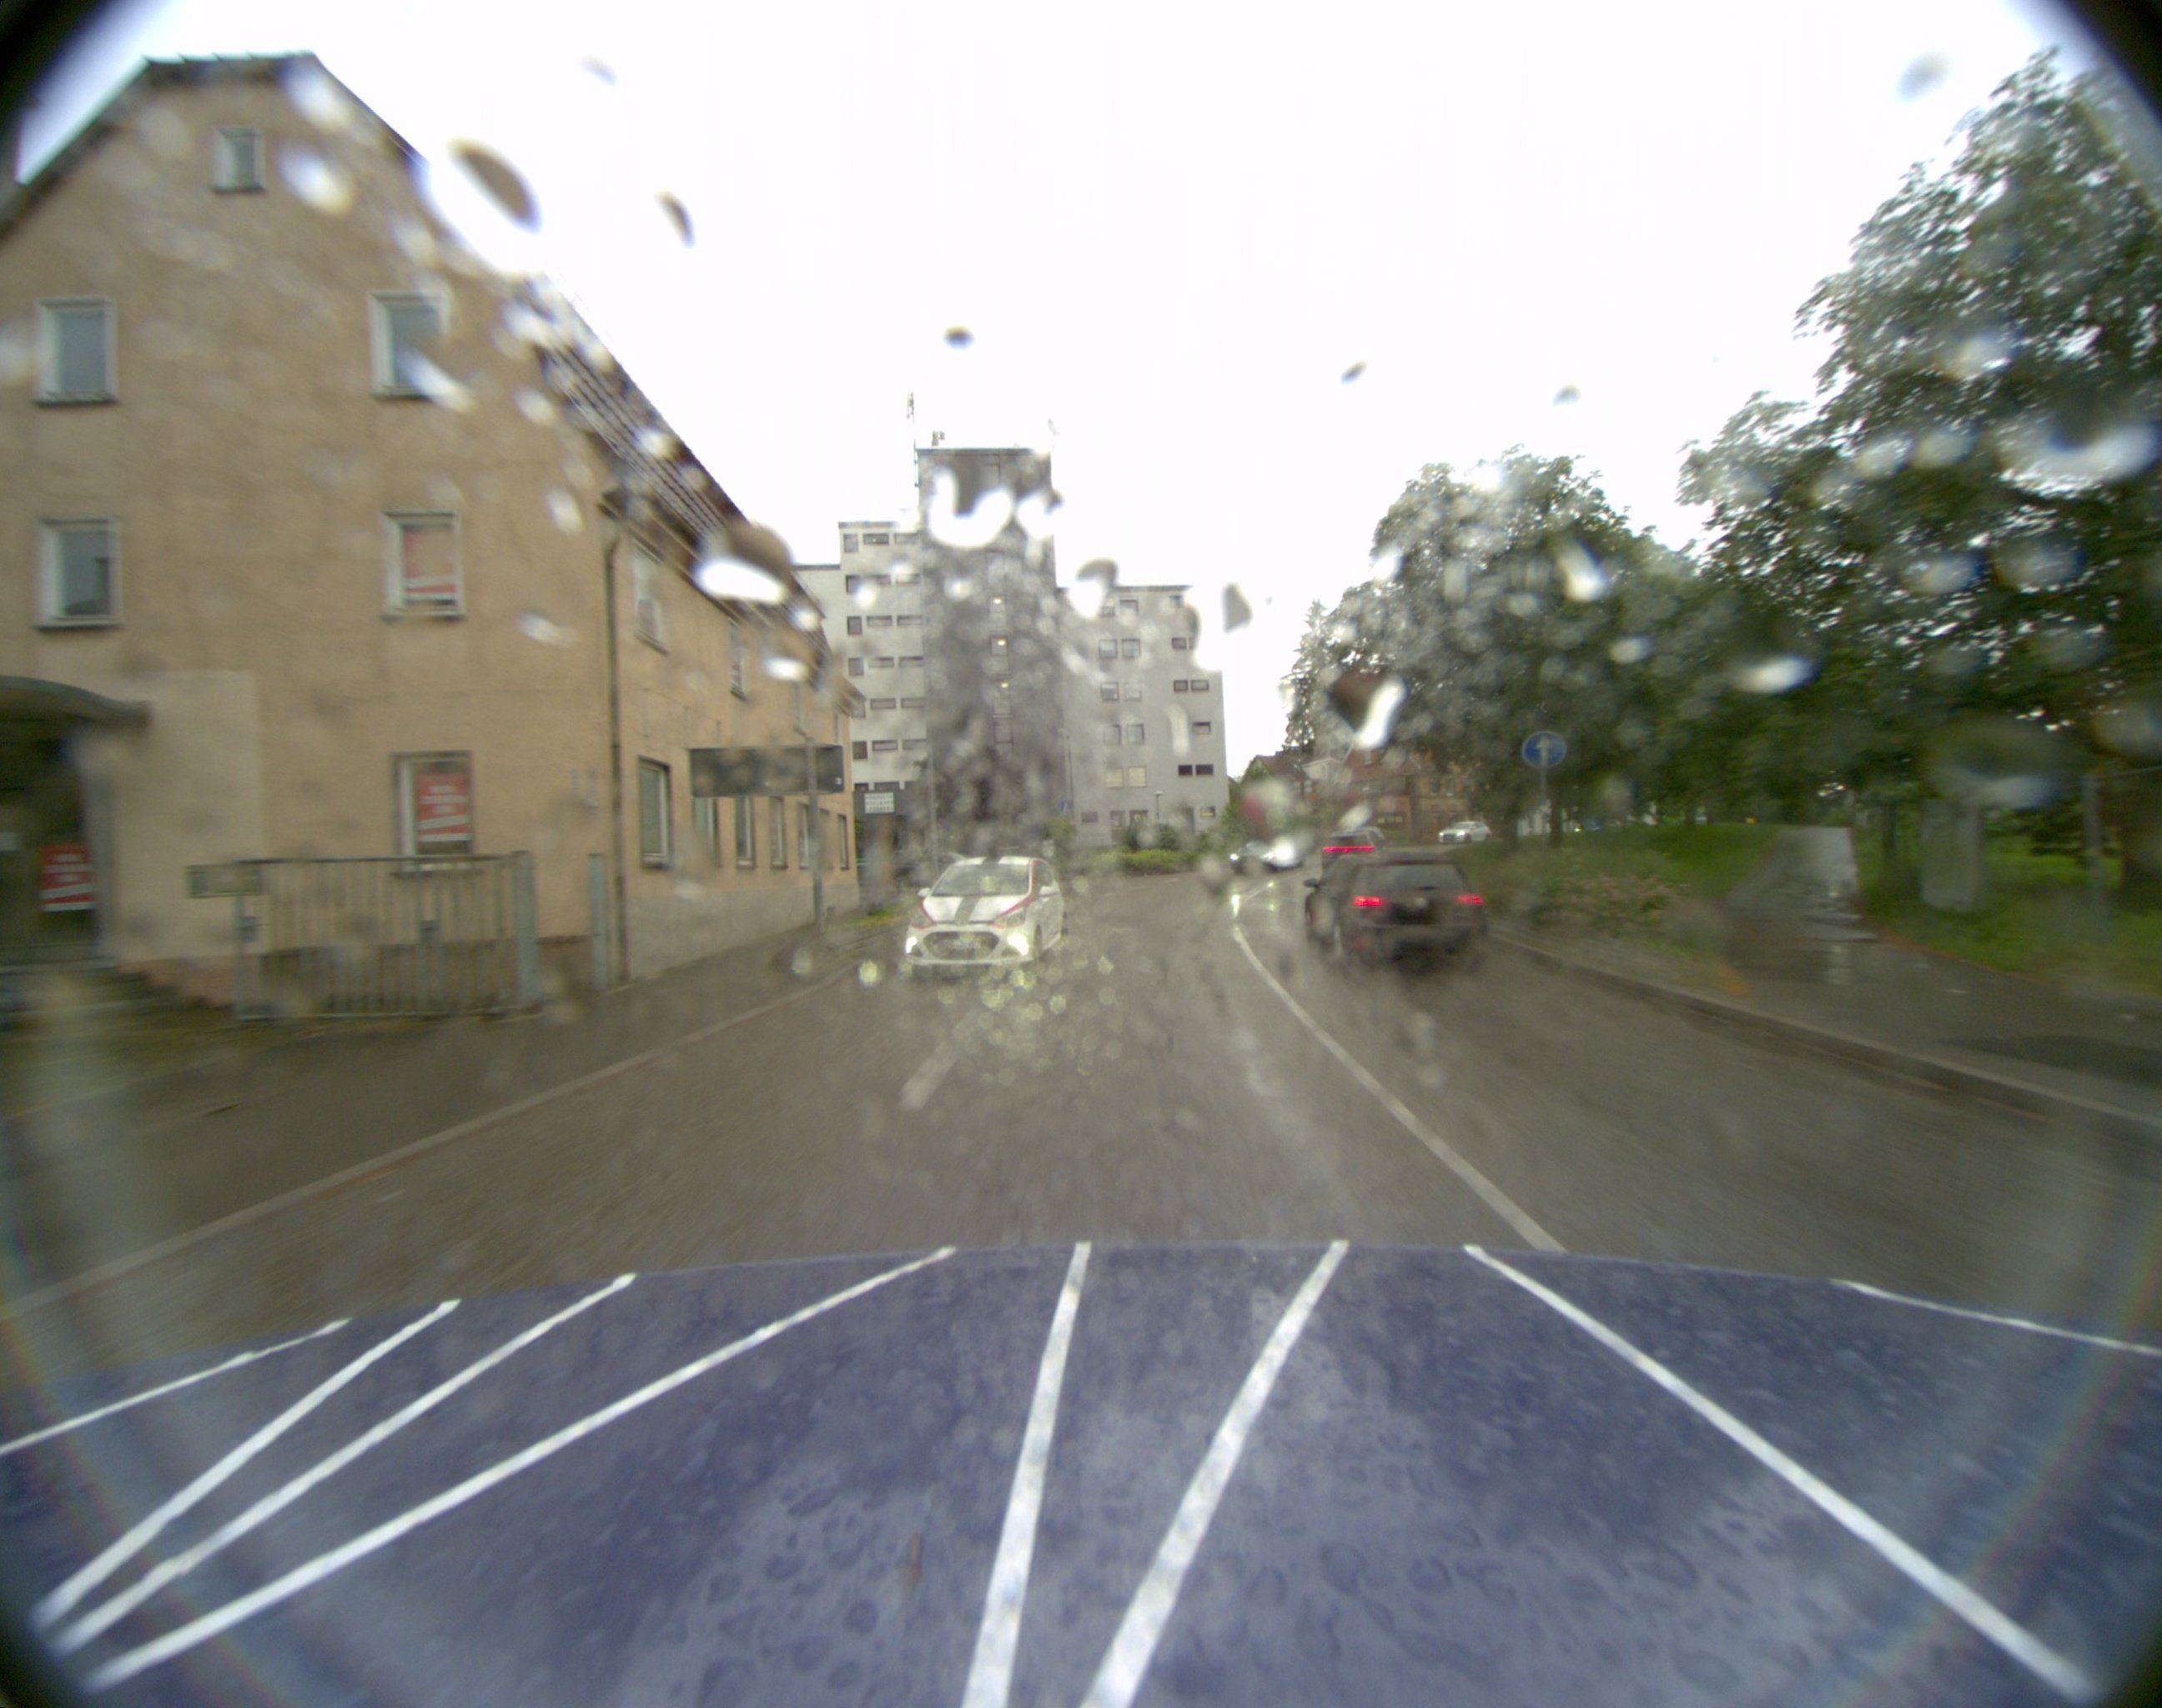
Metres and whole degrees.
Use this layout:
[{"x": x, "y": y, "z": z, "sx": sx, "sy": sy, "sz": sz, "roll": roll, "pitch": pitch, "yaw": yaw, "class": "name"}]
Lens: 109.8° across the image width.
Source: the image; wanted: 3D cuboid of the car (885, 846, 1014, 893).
[{"x": -4.867, "y": 0.554, "z": 28.065, "sx": 4.408, "sy": 1.564, "sz": 1.721, "roll": 0, "pitch": 3, "yaw": 24, "class": "car"}]

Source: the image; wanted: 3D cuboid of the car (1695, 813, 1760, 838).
[{"x": 45.861, "y": -2.032, "z": 53.898, "sx": 4.304, "sy": 1.535, "sz": 1.729, "roll": -3, "pitch": 3, "yaw": -23, "class": "car"}]

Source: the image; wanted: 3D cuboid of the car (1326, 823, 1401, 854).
[{"x": 14.882, "y": -0.836, "z": 39.813, "sx": 1.787, "sy": 1.339, "sz": 4.953, "roll": -4, "pitch": 0, "yaw": 44, "class": "car"}]

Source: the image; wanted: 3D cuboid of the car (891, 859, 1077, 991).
[{"x": -1.182, "y": 0.882, "z": 10.991, "sx": 1.710, "sy": 1.445, "sz": 3.765, "roll": -2, "pitch": 1, "yaw": 7, "class": "car"}]

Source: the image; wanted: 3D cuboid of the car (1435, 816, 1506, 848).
[{"x": 25.570, "y": -1.394, "z": 49.835, "sx": 4.954, "sy": 1.648, "sz": 1.898, "roll": 3, "pitch": -4, "yaw": -32, "class": "car"}]

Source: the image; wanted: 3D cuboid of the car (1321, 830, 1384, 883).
[{"x": 9.615, "y": 0.013, "z": 26.733, "sx": 1.895, "sy": 1.587, "sz": 4.359, "roll": 0, "pitch": 4, "yaw": 22, "class": "car"}]

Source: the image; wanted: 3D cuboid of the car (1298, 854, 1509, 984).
[{"x": 4.220, "y": 0.756, "z": 10.609, "sx": 1.773, "sy": 1.394, "sz": 3.921, "roll": -1, "pitch": 1, "yaw": 9, "class": "car"}]

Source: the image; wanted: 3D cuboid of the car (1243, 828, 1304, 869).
[{"x": 8.053, "y": -0.242, "z": 32.139, "sx": 1.837, "sy": 1.505, "sz": 4.850, "roll": -3, "pitch": 1, "yaw": 7, "class": "car"}]
